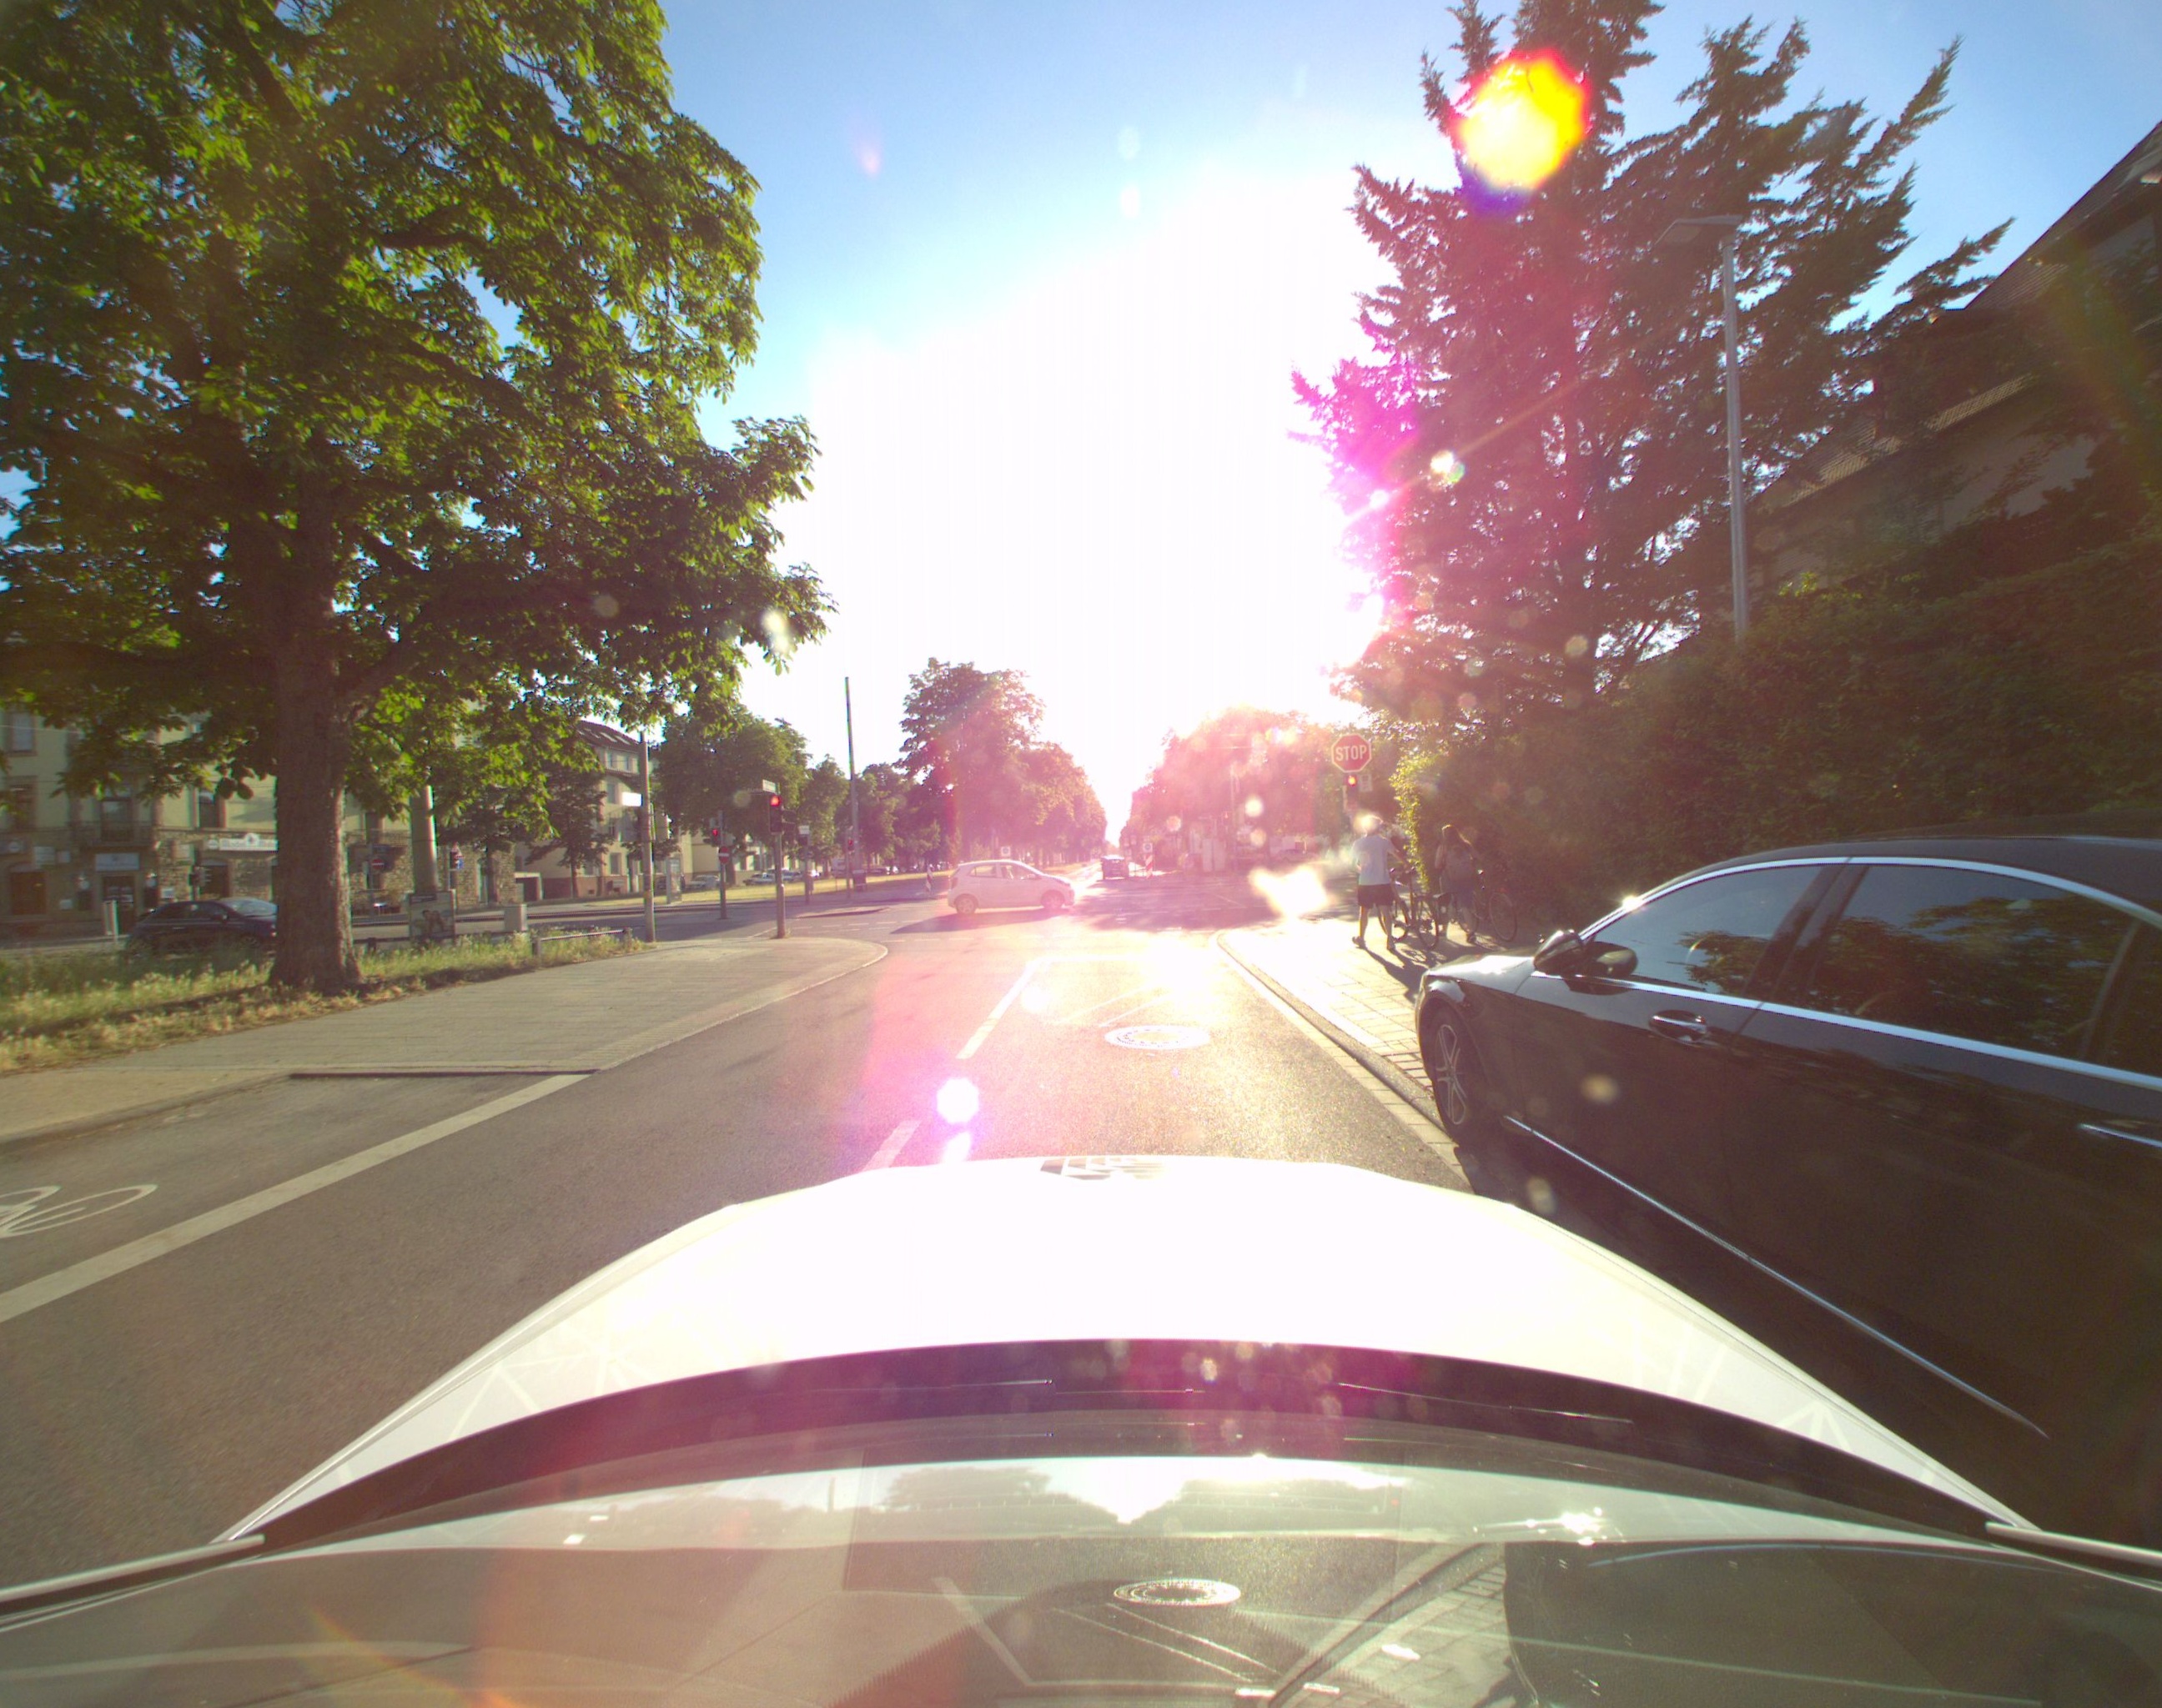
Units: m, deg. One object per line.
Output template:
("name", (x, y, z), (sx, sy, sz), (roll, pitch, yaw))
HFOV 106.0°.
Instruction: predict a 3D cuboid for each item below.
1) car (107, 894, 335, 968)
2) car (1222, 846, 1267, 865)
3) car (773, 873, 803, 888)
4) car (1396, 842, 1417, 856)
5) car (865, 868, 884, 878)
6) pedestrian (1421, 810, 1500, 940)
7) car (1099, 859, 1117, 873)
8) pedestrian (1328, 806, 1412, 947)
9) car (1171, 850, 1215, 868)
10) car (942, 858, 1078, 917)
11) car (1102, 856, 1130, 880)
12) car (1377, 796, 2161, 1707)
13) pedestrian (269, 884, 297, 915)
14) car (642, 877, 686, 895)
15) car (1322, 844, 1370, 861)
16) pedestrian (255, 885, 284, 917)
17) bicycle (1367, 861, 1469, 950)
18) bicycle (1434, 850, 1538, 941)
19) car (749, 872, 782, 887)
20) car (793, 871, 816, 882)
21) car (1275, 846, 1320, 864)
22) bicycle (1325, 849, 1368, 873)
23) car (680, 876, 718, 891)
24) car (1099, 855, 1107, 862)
("car", (-21.305, 1.876, 20.323), (3.595, 1.497, 1.607), (-2, 0, -10))
("car", (14.787, 0.119, 73.809), (3.765, 1.525, 1.745), (-2, 1, 2))
("car", (-33.422, 2.990, 92.988), (1.731, 1.427, 3.796), (-2, 1, 3))
("car", (36.412, -0.572, 91.080), (1.648, 1.418, 3.564), (-3, 0, 28))
("car", (-32.431, 2.978, 127.948), (1.731, 1.427, 3.795), (-2, 0, 3))
("pedestrian", (5.258, 0.280, 11.314), (0.668, 1.708, 0.622), (-4, 0, -4))
("car", (2.916, 1.293, 87.104), (1.837, 1.394, 3.832), (-2, 0, 3))
("pedestrian", (4.048, 0.306, 11.472), (0.669, 1.865, 0.880), (-5, 0, -4))
("car", (10.125, 0.443, 73.775), (3.765, 1.427, 1.745), (-2, 1, 2))
("car", (-2.054, 0.911, 23.233), (3.685, 1.488, 1.736), (-2, 0, -9))
("car", (2.333, 0.877, 53.091), (1.633, 1.451, 3.312), (-2, 0, 5))
("car", (2.693, 0.643, 2.433), (1.852, 1.542, 4.873), (-3, 0, 1))
("pedestrian", (-43.521, 2.494, 44.413), (0.808, 1.642, 0.728), (-2, -1, 10))
("car", (-39.703, 3.013, 77.621), (1.728, 1.397, 3.802), (-2, 1, 9))
("car", (24.024, -0.138, 73.936), (3.835, 1.427, 1.596), (-2, 0, -2))
("pedestrian", (-43.249, 2.497, 43.426), (0.723, 1.642, 0.814), (-2, -1, -7))
("bicycle", (4.612, 0.660, 11.288), (0.486, 1.097, 1.788), (-5, 0, -4))
("bicycle", (5.586, 0.544, 11.334), (0.486, 1.142, 1.596), (-5, 0, -3))
("car", (-33.622, 2.730, 86.881), (1.731, 1.427, 3.795), (-2, 0, 3))
("car", (-38.793, 3.200, 114.388), (1.731, 1.427, 3.795), (-2, 0, 3))
("car", (19.493, 0.116, 73.449), (3.653, 1.427, 1.530), (-2, 0, -2))
("bicycle", (13.475, 0.372, 41.316), (1.945, 1.132, 0.620), (-3, -1, 4))
("car", (-39.429, 3.038, 84.100), (1.728, 1.427, 3.801), (-2, 0, 9))
("car", (6.123, 1.240, 224.616), (2.125, 2.013, 3.905), (-2, 0, 3))
